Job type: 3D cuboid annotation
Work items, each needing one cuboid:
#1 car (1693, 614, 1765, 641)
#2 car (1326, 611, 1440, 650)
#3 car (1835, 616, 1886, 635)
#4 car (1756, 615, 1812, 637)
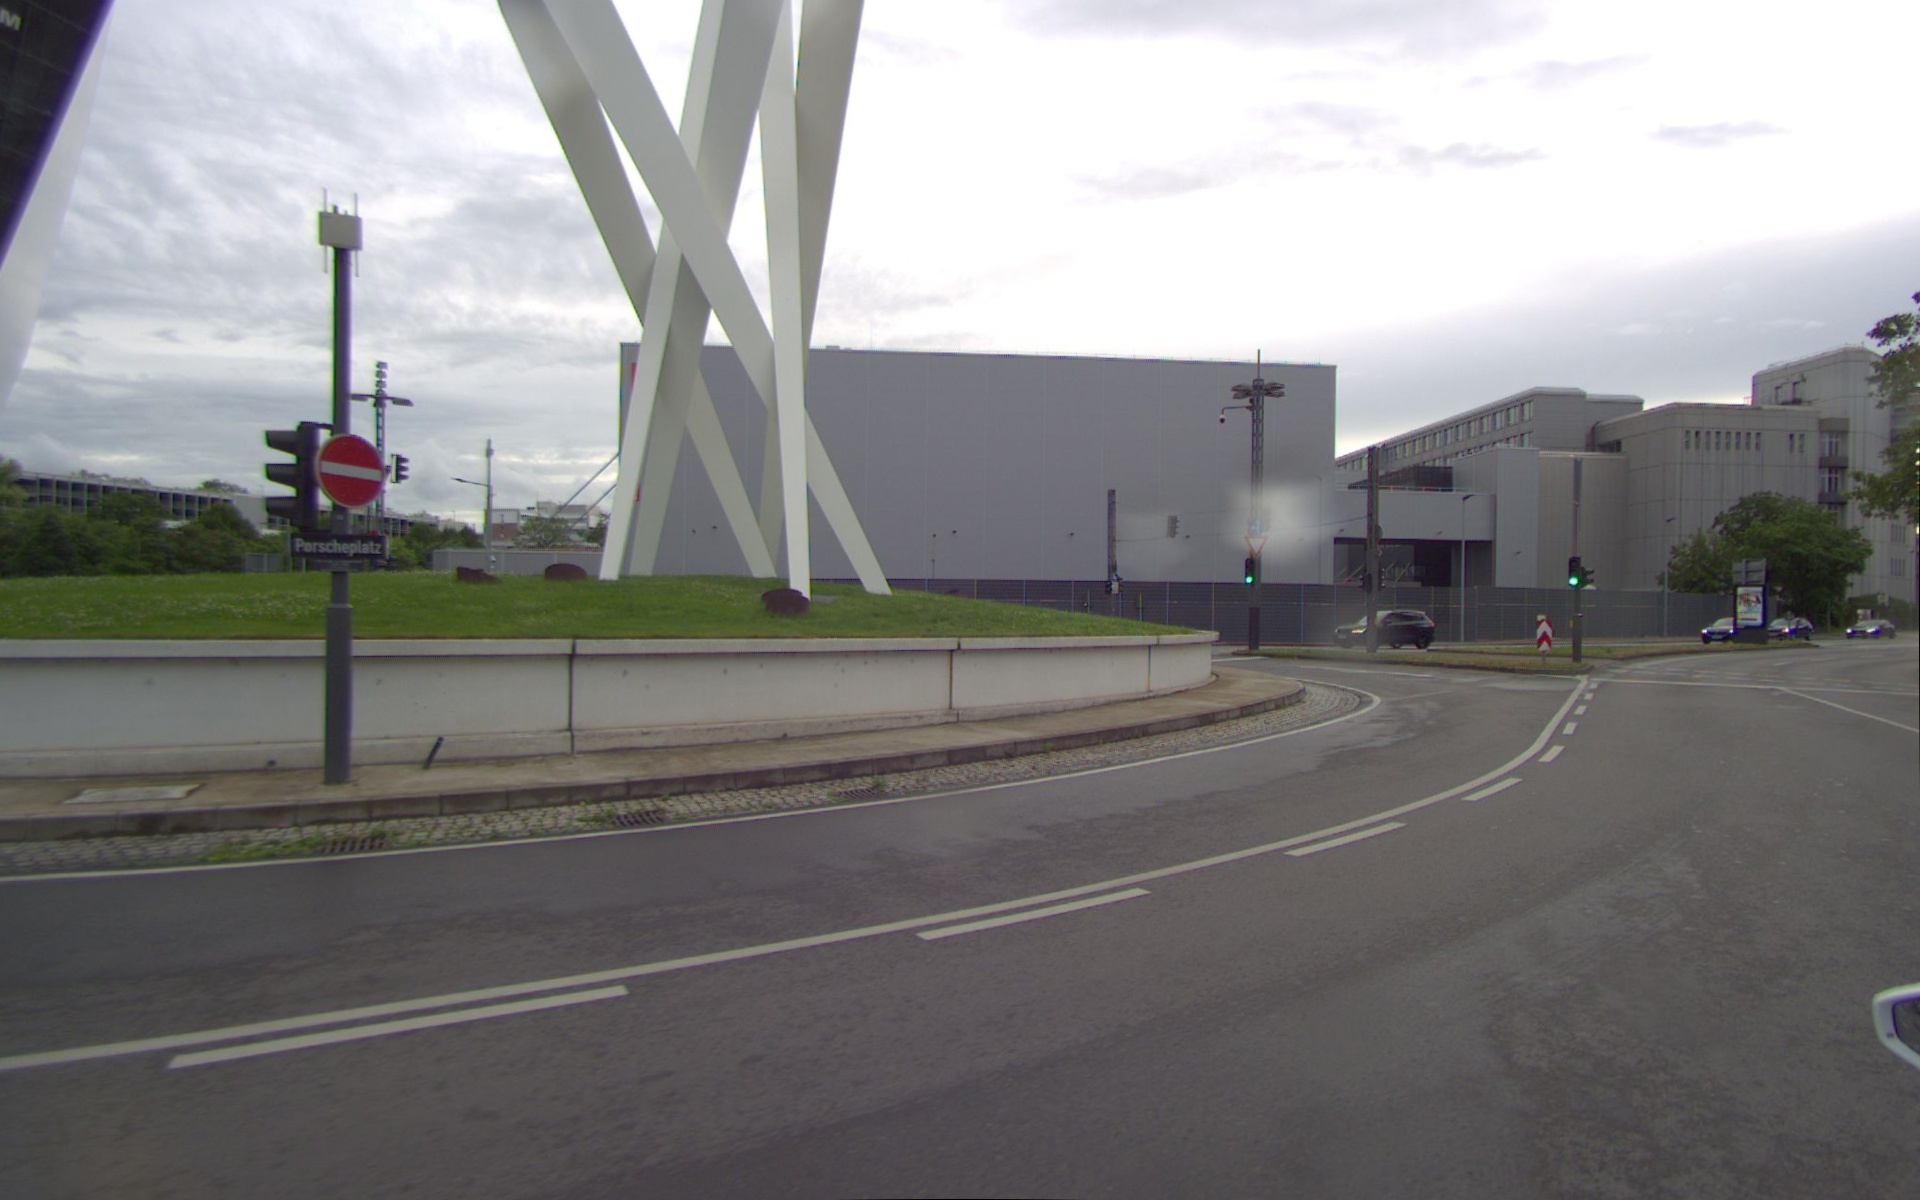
[{"bbox_3d":[43.375,1.528,56.640,4.344,1.459,1.774,1,0,-31],"label":"car"},{"bbox_3d":[18.160,1.271,43.152,4.495,1.609,1.781,0,0,-19],"label":"car"},{"bbox_3d":[68.140,1.947,75.969,4.498,1.403,1.772,1,-2,-34],"label":"car"},{"bbox_3d":[56.772,1.794,69.193,4.514,1.473,1.772,1,-2,-35],"label":"car"}]
